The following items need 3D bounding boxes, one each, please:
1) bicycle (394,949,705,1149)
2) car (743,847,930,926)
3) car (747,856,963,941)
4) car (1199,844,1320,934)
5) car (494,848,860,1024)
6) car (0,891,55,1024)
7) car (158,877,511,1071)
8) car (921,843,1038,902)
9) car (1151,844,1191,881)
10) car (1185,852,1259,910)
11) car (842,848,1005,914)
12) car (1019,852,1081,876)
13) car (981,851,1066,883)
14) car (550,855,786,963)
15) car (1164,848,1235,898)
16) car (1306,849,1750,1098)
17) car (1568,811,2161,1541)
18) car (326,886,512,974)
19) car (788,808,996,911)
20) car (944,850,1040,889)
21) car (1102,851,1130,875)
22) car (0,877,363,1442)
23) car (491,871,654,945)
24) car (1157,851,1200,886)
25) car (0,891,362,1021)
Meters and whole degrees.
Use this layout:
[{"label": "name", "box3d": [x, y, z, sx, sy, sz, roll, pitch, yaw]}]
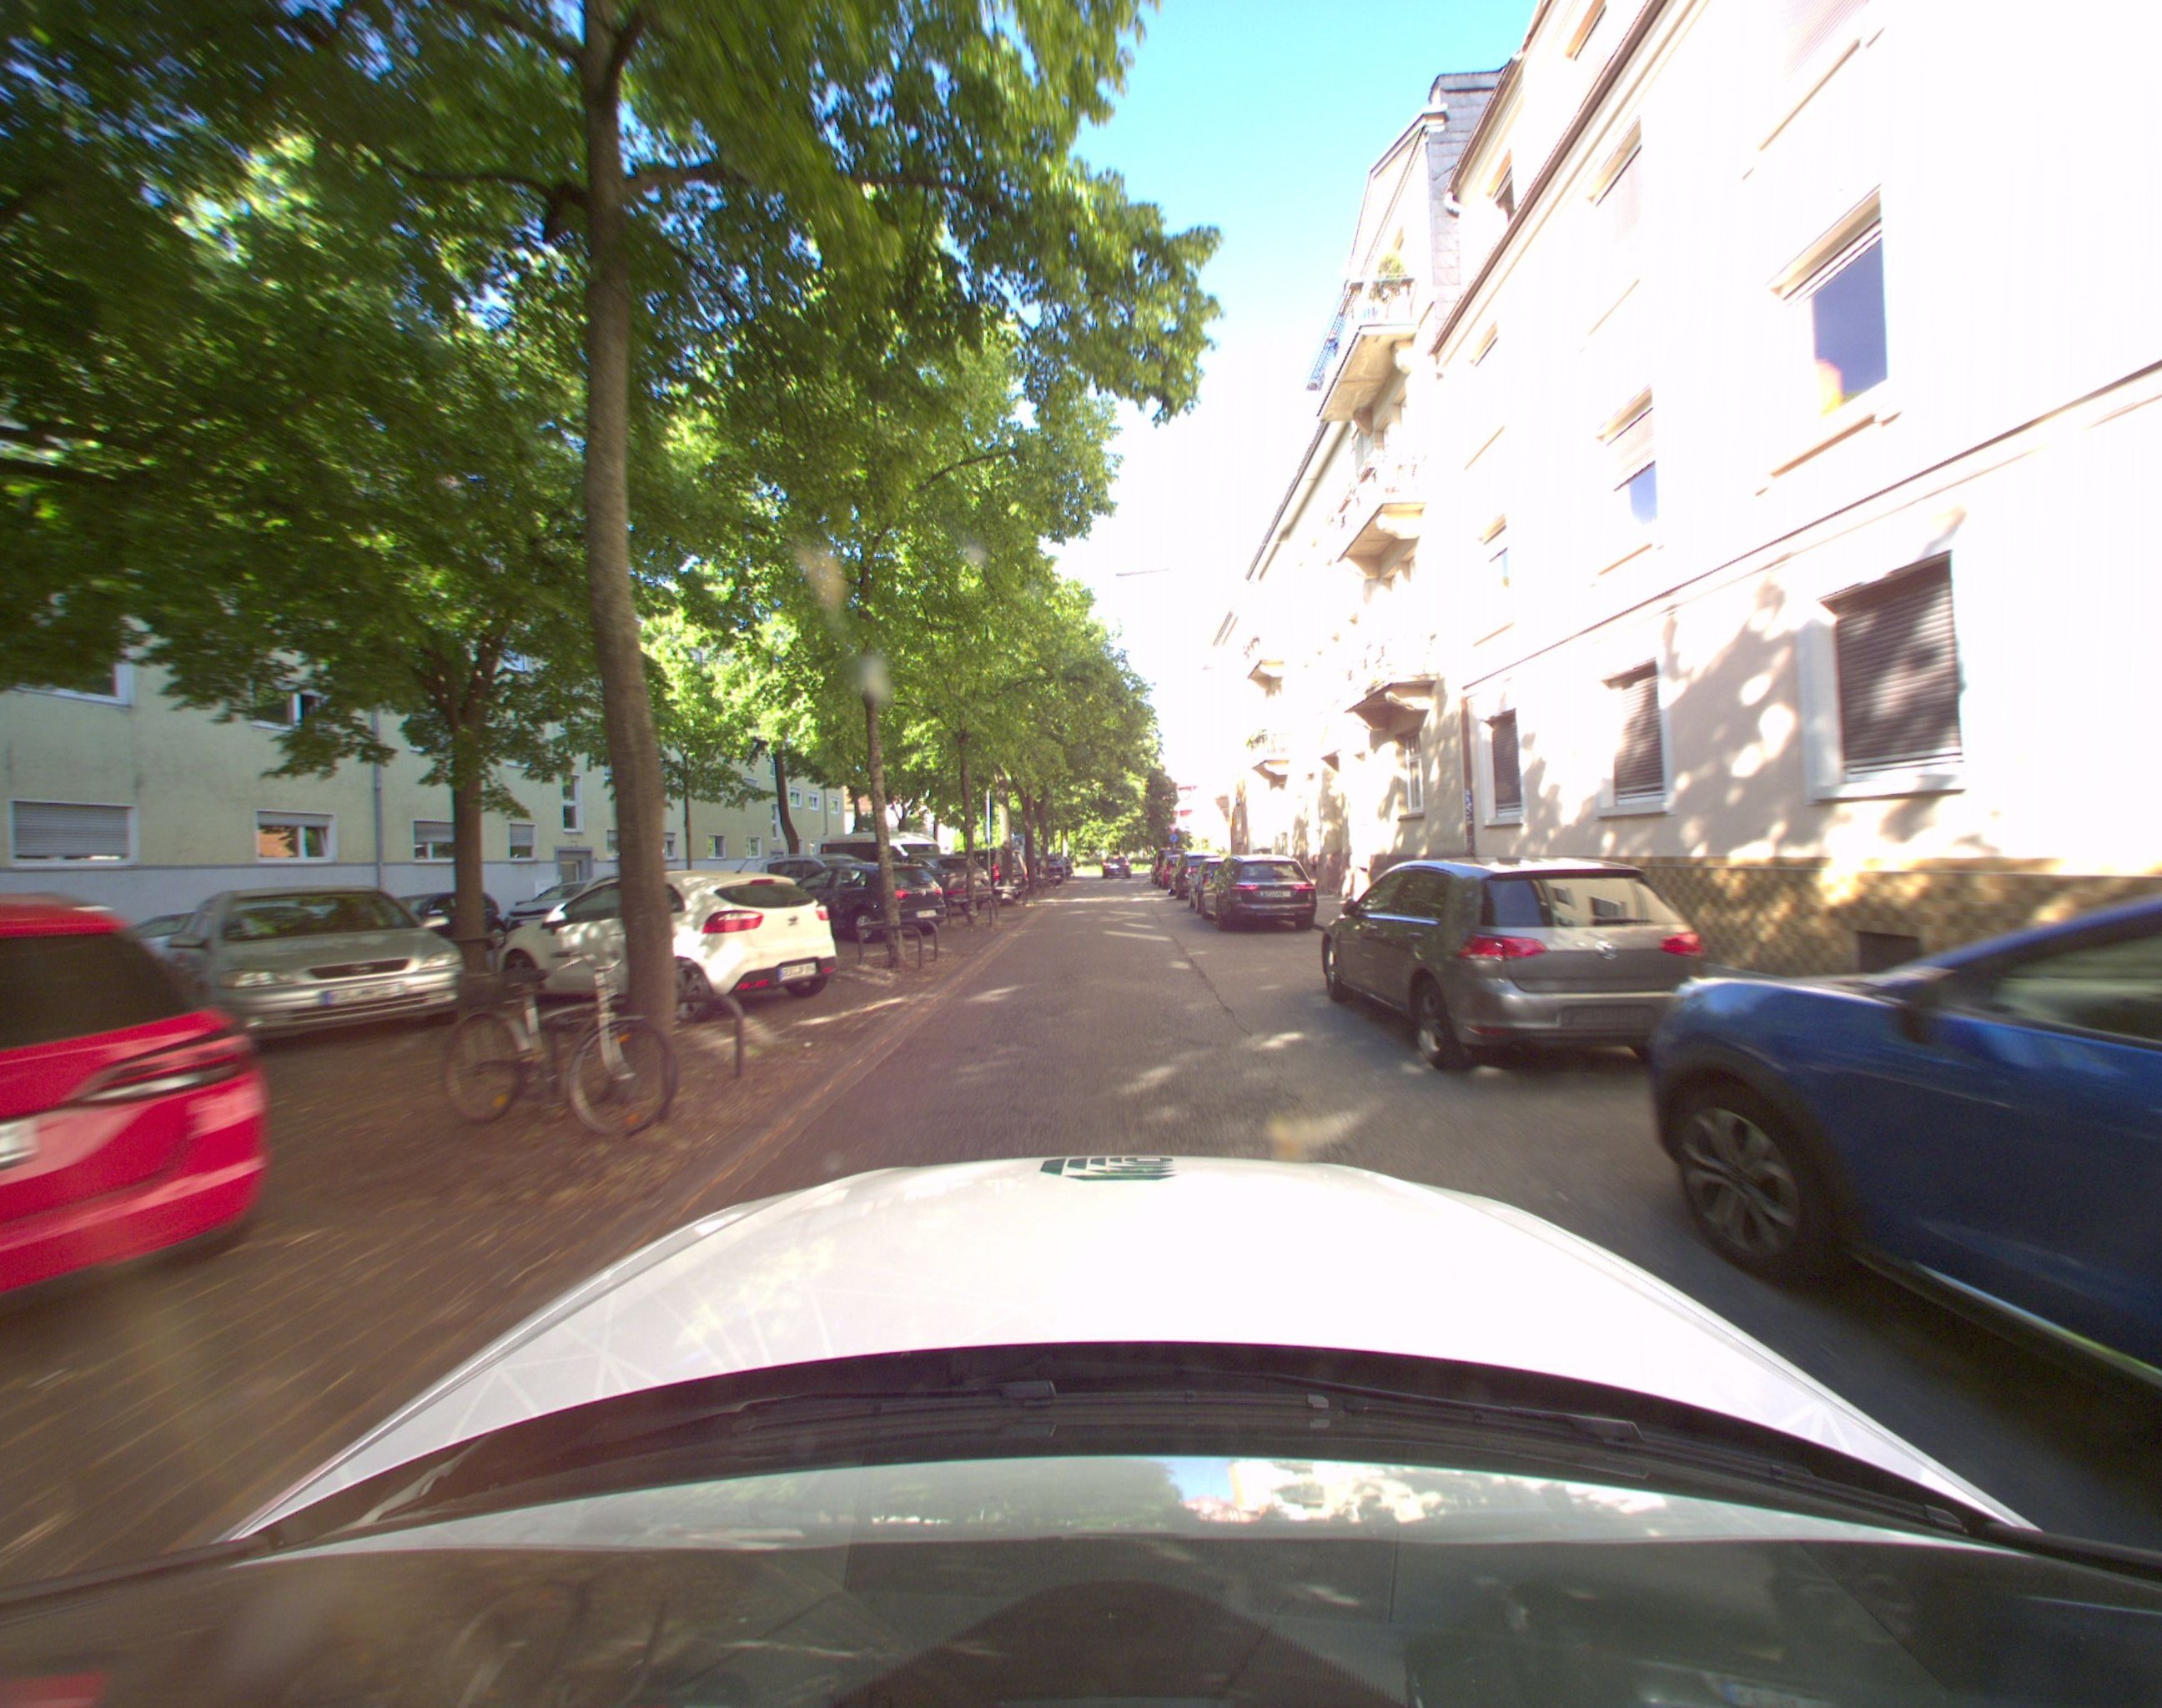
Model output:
[{"label": "bicycle", "box3d": [-3.109, 1.088, 4.748, 1.796, 0.994, 0.428, -3, 0, 17]}, {"label": "car", "box3d": [-6.080, 0.810, 20.158, 4.338, 1.777, 1.911, -3, -1, 29]}, {"label": "car", "box3d": [-4.516, 0.853, 16.124, 4.056, 1.481, 1.743, -2, 0, 31]}, {"label": "car", "box3d": [3.617, 0.627, 17.260, 1.797, 1.563, 4.325, -3, 0, 3]}, {"label": "car", "box3d": [-4.505, 0.782, 9.071, 3.648, 1.596, 1.783, -1, 0, 27]}, {"label": "car", "box3d": [-15.295, 1.471, 9.124, 1.839, 1.719, 4.380, -5, 0, 2]}, {"label": "car", "box3d": [-7.634, 1.012, 8.231, 3.948, 1.435, 1.809, -2, 0, 35]}, {"label": "car", "box3d": [-3.635, 0.650, 28.919, 3.801, 1.888, 1.856, -2, 1, 37]}, {"label": "car", "box3d": [4.718, 0.402, 43.283, 1.794, 1.870, 4.275, 1, 0, 2]}, {"label": "car", "box3d": [3.799, 0.688, 22.449, 1.583, 1.415, 3.635, -1, 0, 3]}, {"label": "car", "box3d": [-4.290, 0.695, 21.986, 4.221, 1.641, 1.665, -1, 0, 30]}, {"label": "car", "box3d": [-2.122, 0.674, 55.399, 4.089, 1.481, 1.787, -2, -1, 42]}, {"label": "car", "box3d": [-2.807, 0.647, 40.393, 4.077, 1.466, 1.866, -1, -1, -2]}, {"label": "car", "box3d": [-7.202, 0.920, 14.131, 3.865, 1.555, 1.858, -3, 0, 32]}, {"label": "car", "box3d": [4.191, 0.622, 29.377, 1.858, 1.643, 4.490, -1, 0, 0]}, {"label": "car", "box3d": [3.259, 0.715, 6.937, 1.685, 1.468, 4.007, -1, 0, 2]}, {"label": "car", "box3d": [3.169, 0.673, 1.802, 1.761, 1.551, 4.185, -1, 0, 1]}, {"label": "car", "box3d": [-14.878, 1.647, 18.529, 1.469, 1.559, 3.184, -4, 0, 1]}, {"label": "car", "box3d": [-6.177, 0.234, 26.788, 6.017, 2.622, 2.466, -6, -2, 17]}, {"label": "car", "box3d": [-3.793, 0.660, 34.803, 3.699, 1.582, 1.643, -1, 0, 14]}, {"label": "car", "box3d": [2.320, 0.567, 52.731, 1.707, 1.483, 4.148, -1, 0, 3]}, {"label": "car", "box3d": [-4.948, 0.875, 3.241, 4.569, 1.486, 1.772, -1, 0, 30]}, {"label": "car", "box3d": [-14.630, 1.470, 23.807, 1.735, 1.722, 4.559, -4, 1, 1]}, {"label": "car", "box3d": [4.482, 0.626, 37.777, 1.639, 1.537, 4.002, 1, 0, 2]}, {"label": "car", "box3d": [-15.236, 1.596, 14.027, 1.886, 1.565, 4.160, -4, 0, 0]}]
